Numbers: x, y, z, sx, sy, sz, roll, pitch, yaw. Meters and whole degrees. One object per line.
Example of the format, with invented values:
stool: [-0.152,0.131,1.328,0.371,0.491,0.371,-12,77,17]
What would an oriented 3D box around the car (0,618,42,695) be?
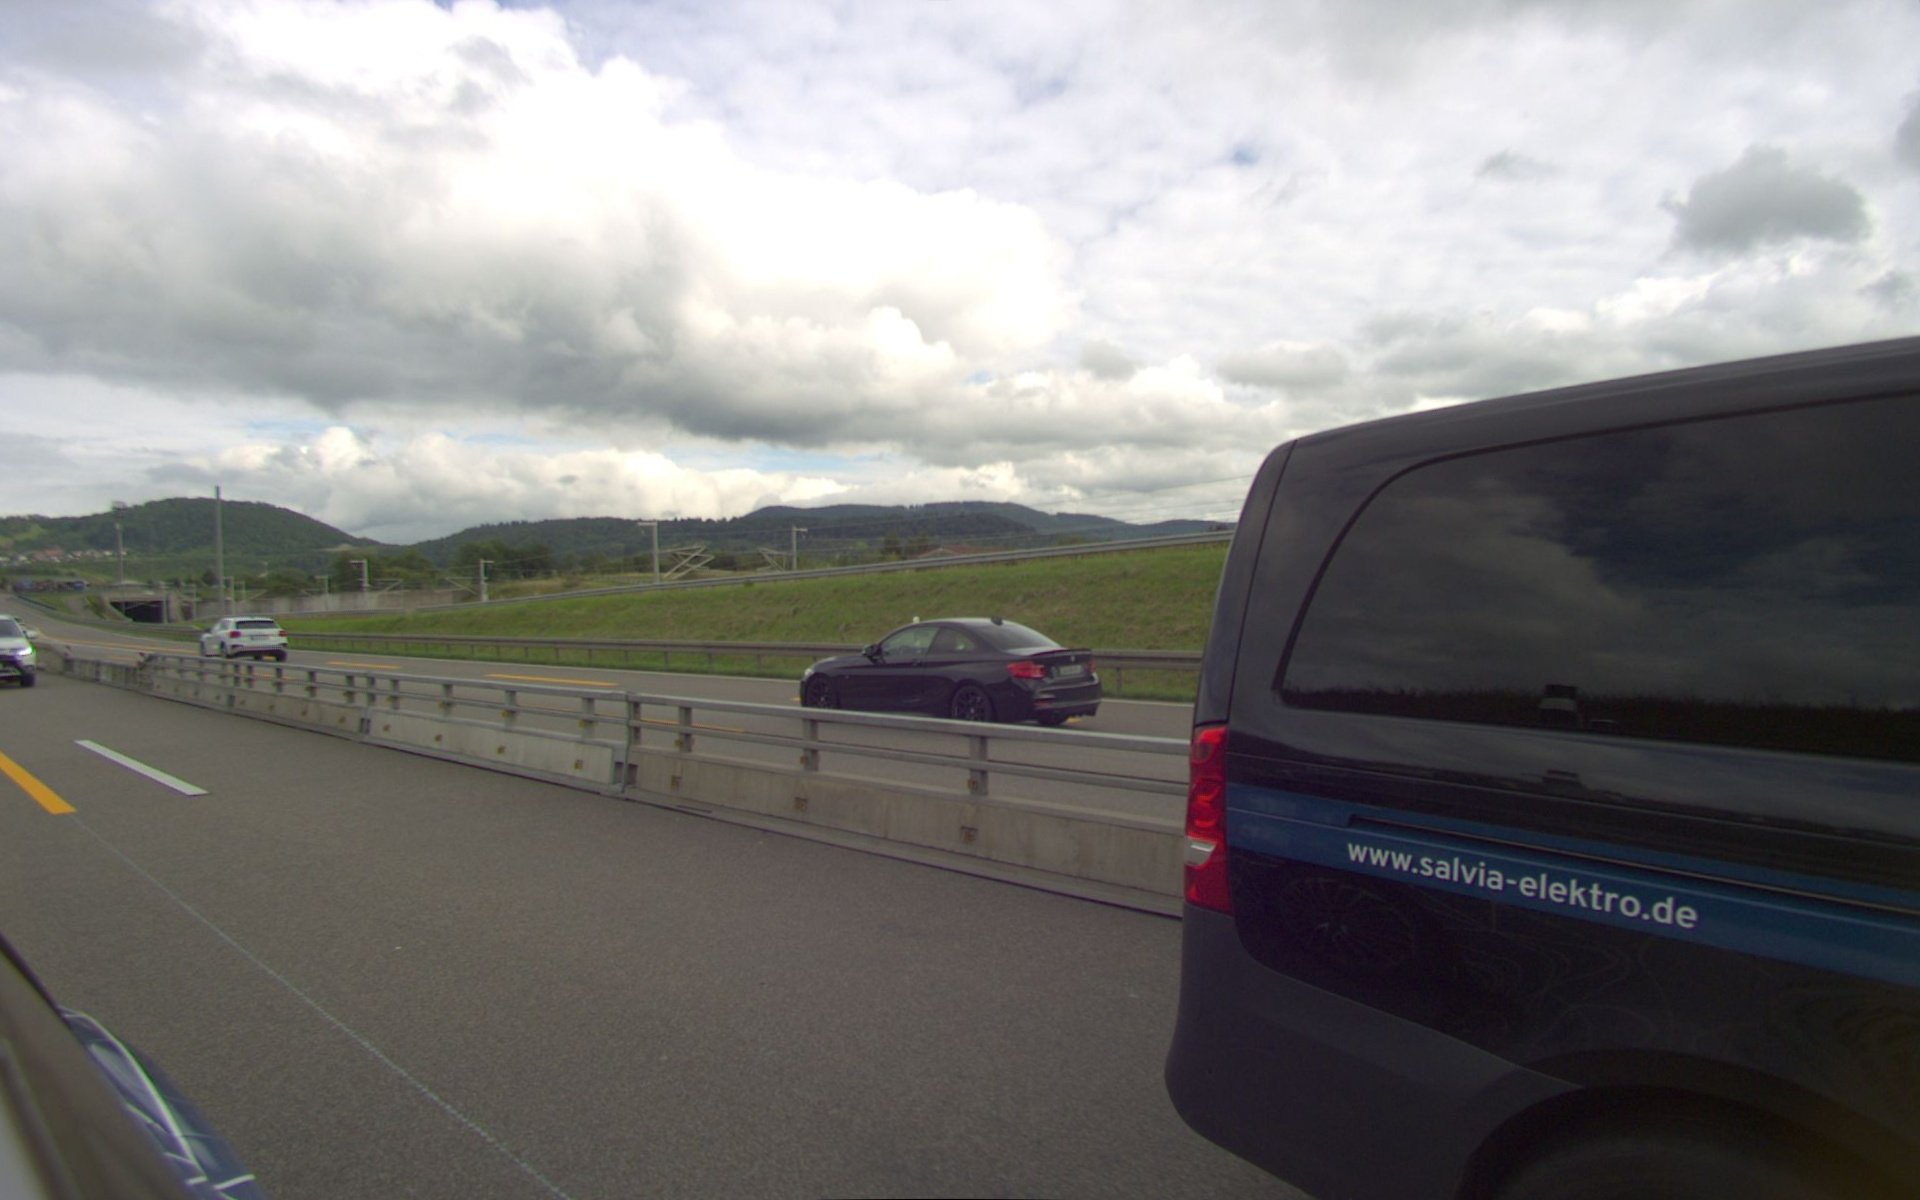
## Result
car: [-22.538,1.274,23.053,4.606,1.640,1.972,-2,-2,42]

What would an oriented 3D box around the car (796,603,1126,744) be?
car: [-0.104,0.817,13.001,4.134,1.528,1.769,-1,-1,42]

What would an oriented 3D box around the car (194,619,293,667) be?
car: [-24.543,1.437,34.638,4.180,1.537,1.870,-2,-1,41]

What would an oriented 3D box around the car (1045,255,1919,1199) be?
car: [2.933,0.476,1.039,5.607,1.857,1.973,-2,-2,41]

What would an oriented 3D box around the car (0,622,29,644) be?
car: [-73.076,2.534,77.549,4.280,1.591,2.067,-1,0,41]
